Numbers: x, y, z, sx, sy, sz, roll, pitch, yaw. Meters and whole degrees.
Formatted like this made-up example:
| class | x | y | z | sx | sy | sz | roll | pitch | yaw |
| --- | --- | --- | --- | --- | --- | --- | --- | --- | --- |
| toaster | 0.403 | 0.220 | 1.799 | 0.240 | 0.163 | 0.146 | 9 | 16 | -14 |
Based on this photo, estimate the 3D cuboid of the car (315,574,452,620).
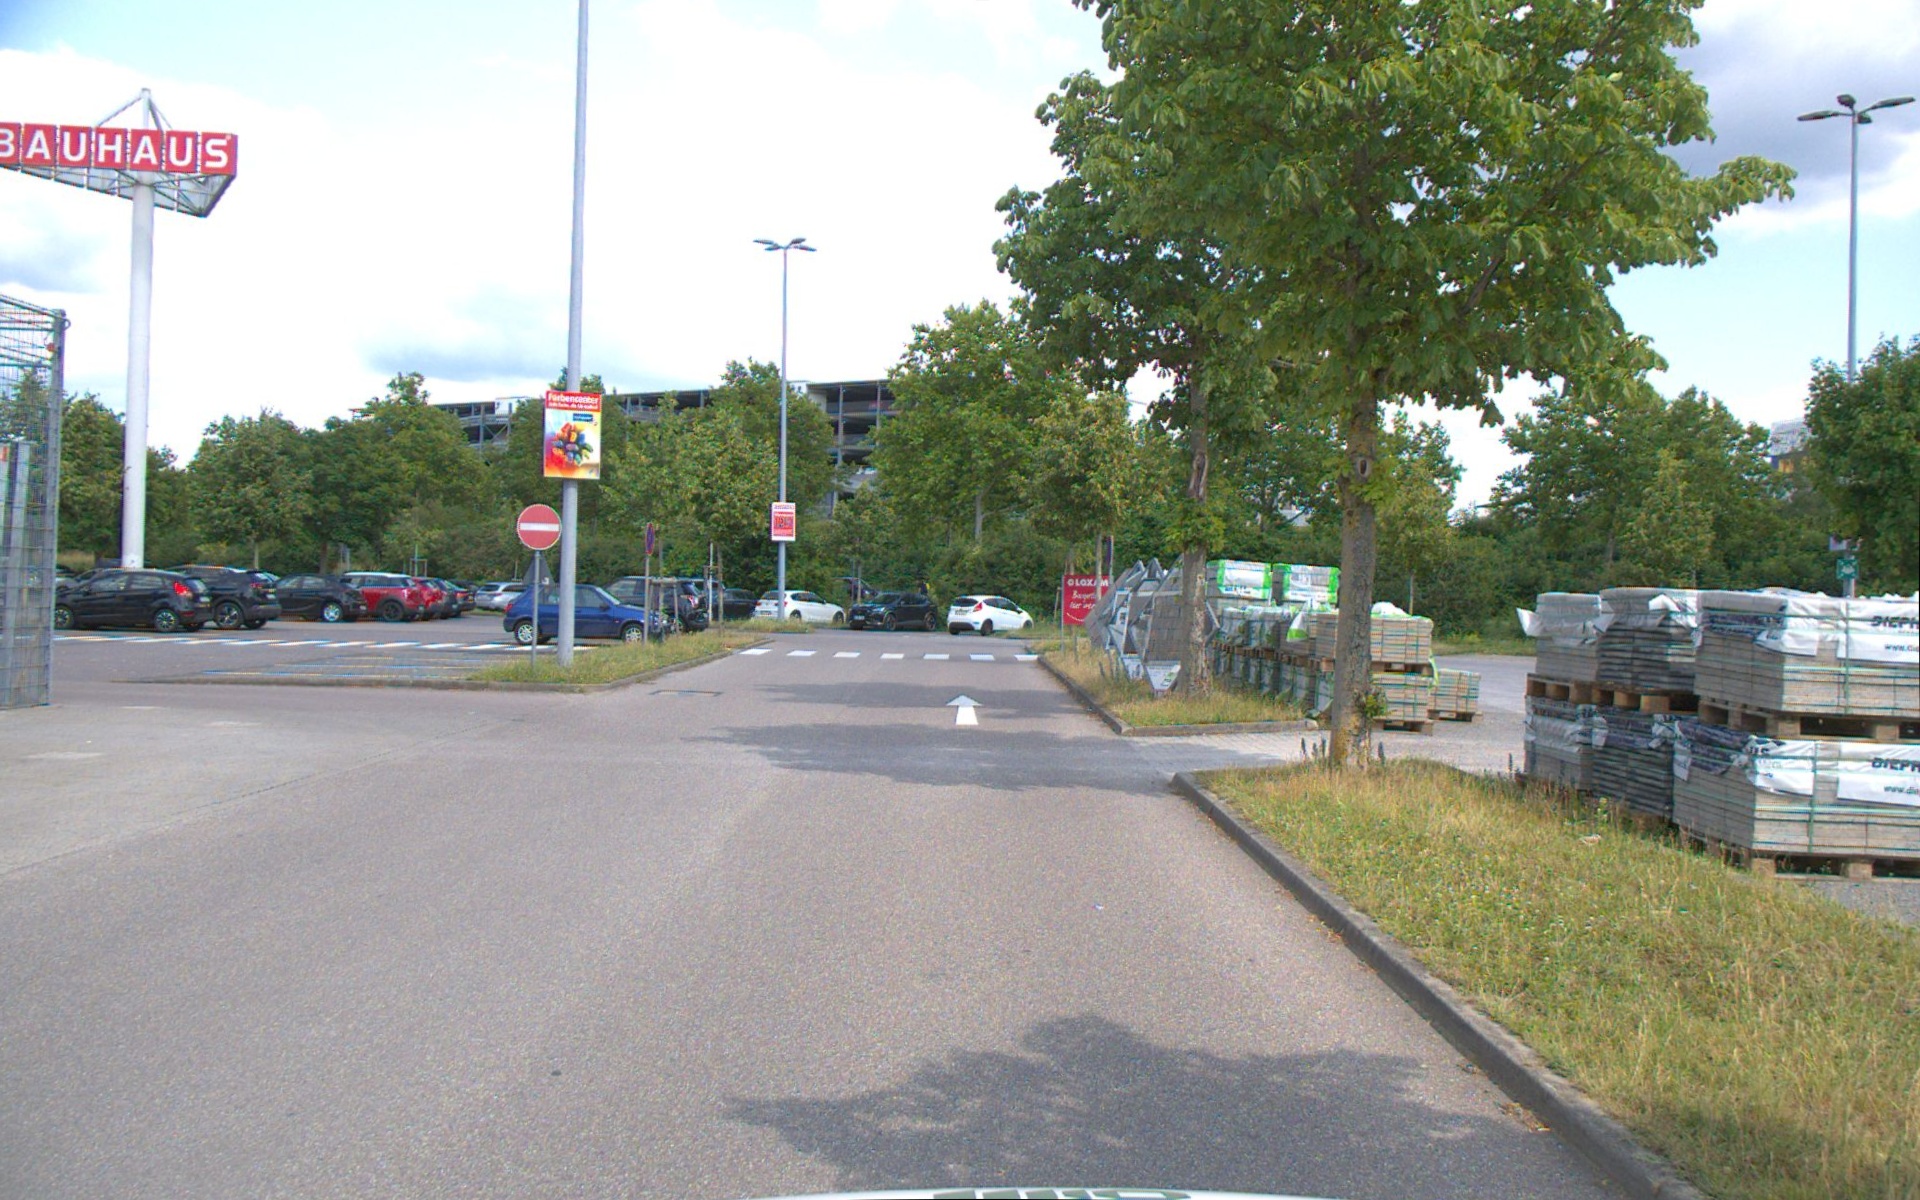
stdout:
| class | x | y | z | sx | sy | sz | roll | pitch | yaw |
| --- | --- | --- | --- | --- | --- | --- | --- | --- | --- |
| car | -19.460 | -0.092 | 55.923 | 3.993 | 1.423 | 1.766 | 2 | 0 | -3 |

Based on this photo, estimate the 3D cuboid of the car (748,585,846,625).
| class | x | y | z | sx | sy | sz | roll | pitch | yaw |
| --- | --- | --- | --- | --- | --- | --- | --- | --- | --- |
| car | -6.521 | 0.219 | 66.563 | 1.657 | 1.536 | 4.065 | 0 | 0 | 37 |

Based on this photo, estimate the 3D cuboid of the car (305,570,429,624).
| class | x | y | z | sx | sy | sz | roll | pitch | yaw |
| --- | --- | --- | --- | --- | --- | --- | --- | --- | --- |
| car | -19.080 | -0.100 | 53.340 | 3.367 | 1.609 | 1.709 | 1 | 0 | -3 |

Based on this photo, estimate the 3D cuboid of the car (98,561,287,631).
| class | x | y | z | sx | sy | sz | roll | pitch | yaw |
| --- | --- | --- | --- | --- | --- | --- | --- | --- | --- |
| car | -19.757 | -0.103 | 42.711 | 3.989 | 1.653 | 1.783 | 2 | 0 | -2 |

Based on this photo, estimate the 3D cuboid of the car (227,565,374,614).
| class | x | y | z | sx | sy | sz | roll | pitch | yaw |
| --- | --- | --- | --- | --- | --- | --- | --- | --- | --- |
| car | -20.193 | -0.315 | 50.782 | 3.795 | 1.393 | 1.728 | 1 | 0 | -4 |

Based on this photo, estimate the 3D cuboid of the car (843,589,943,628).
| class | x | y | z | sx | sy | sz | roll | pitch | yaw |
| --- | --- | --- | --- | --- | --- | --- | --- | --- | --- |
| car | -2.572 | 0.339 | 64.107 | 1.698 | 1.435 | 4.229 | 2 | 0 | 34 |

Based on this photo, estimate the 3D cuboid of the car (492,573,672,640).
| class | x | y | z | sx | sy | sz | roll | pitch | yaw |
| --- | --- | --- | --- | --- | --- | --- | --- | --- | --- |
| car | -8.556 | 0.133 | 37.632 | 3.674 | 1.391 | 1.621 | 2 | 0 | -1 |

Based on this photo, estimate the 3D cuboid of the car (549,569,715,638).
| class | x | y | z | sx | sy | sz | roll | pitch | yaw |
| --- | --- | --- | --- | --- | --- | --- | --- | --- | --- |
| car | -8.422 | 0.078 | 42.680 | 3.868 | 1.653 | 1.736 | 2 | 0 | 1 |

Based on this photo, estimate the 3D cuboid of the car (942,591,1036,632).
| class | x | y | z | sx | sy | sz | roll | pitch | yaw |
| --- | --- | --- | --- | --- | --- | --- | --- | --- | --- |
| car | 1.102 | 0.444 | 61.197 | 1.638 | 1.436 | 3.540 | 2 | 0 | 38 |

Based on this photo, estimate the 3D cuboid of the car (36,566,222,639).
| class | x | y | z | sx | sy | sz | roll | pitch | yaw |
| --- | --- | --- | --- | --- | --- | --- | --- | --- | --- |
| car | -20.271 | 0.051 | 40.471 | 3.623 | 1.653 | 1.782 | 1 | 0 | -6 |

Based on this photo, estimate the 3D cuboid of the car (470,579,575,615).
| class | x | y | z | sx | sy | sz | roll | pitch | yaw |
| --- | --- | --- | --- | --- | --- | --- | --- | --- | --- |
| car | -19.869 | -0.120 | 75.335 | 1.747 | 1.531 | 4.640 | 2 | 0 | 33 |
